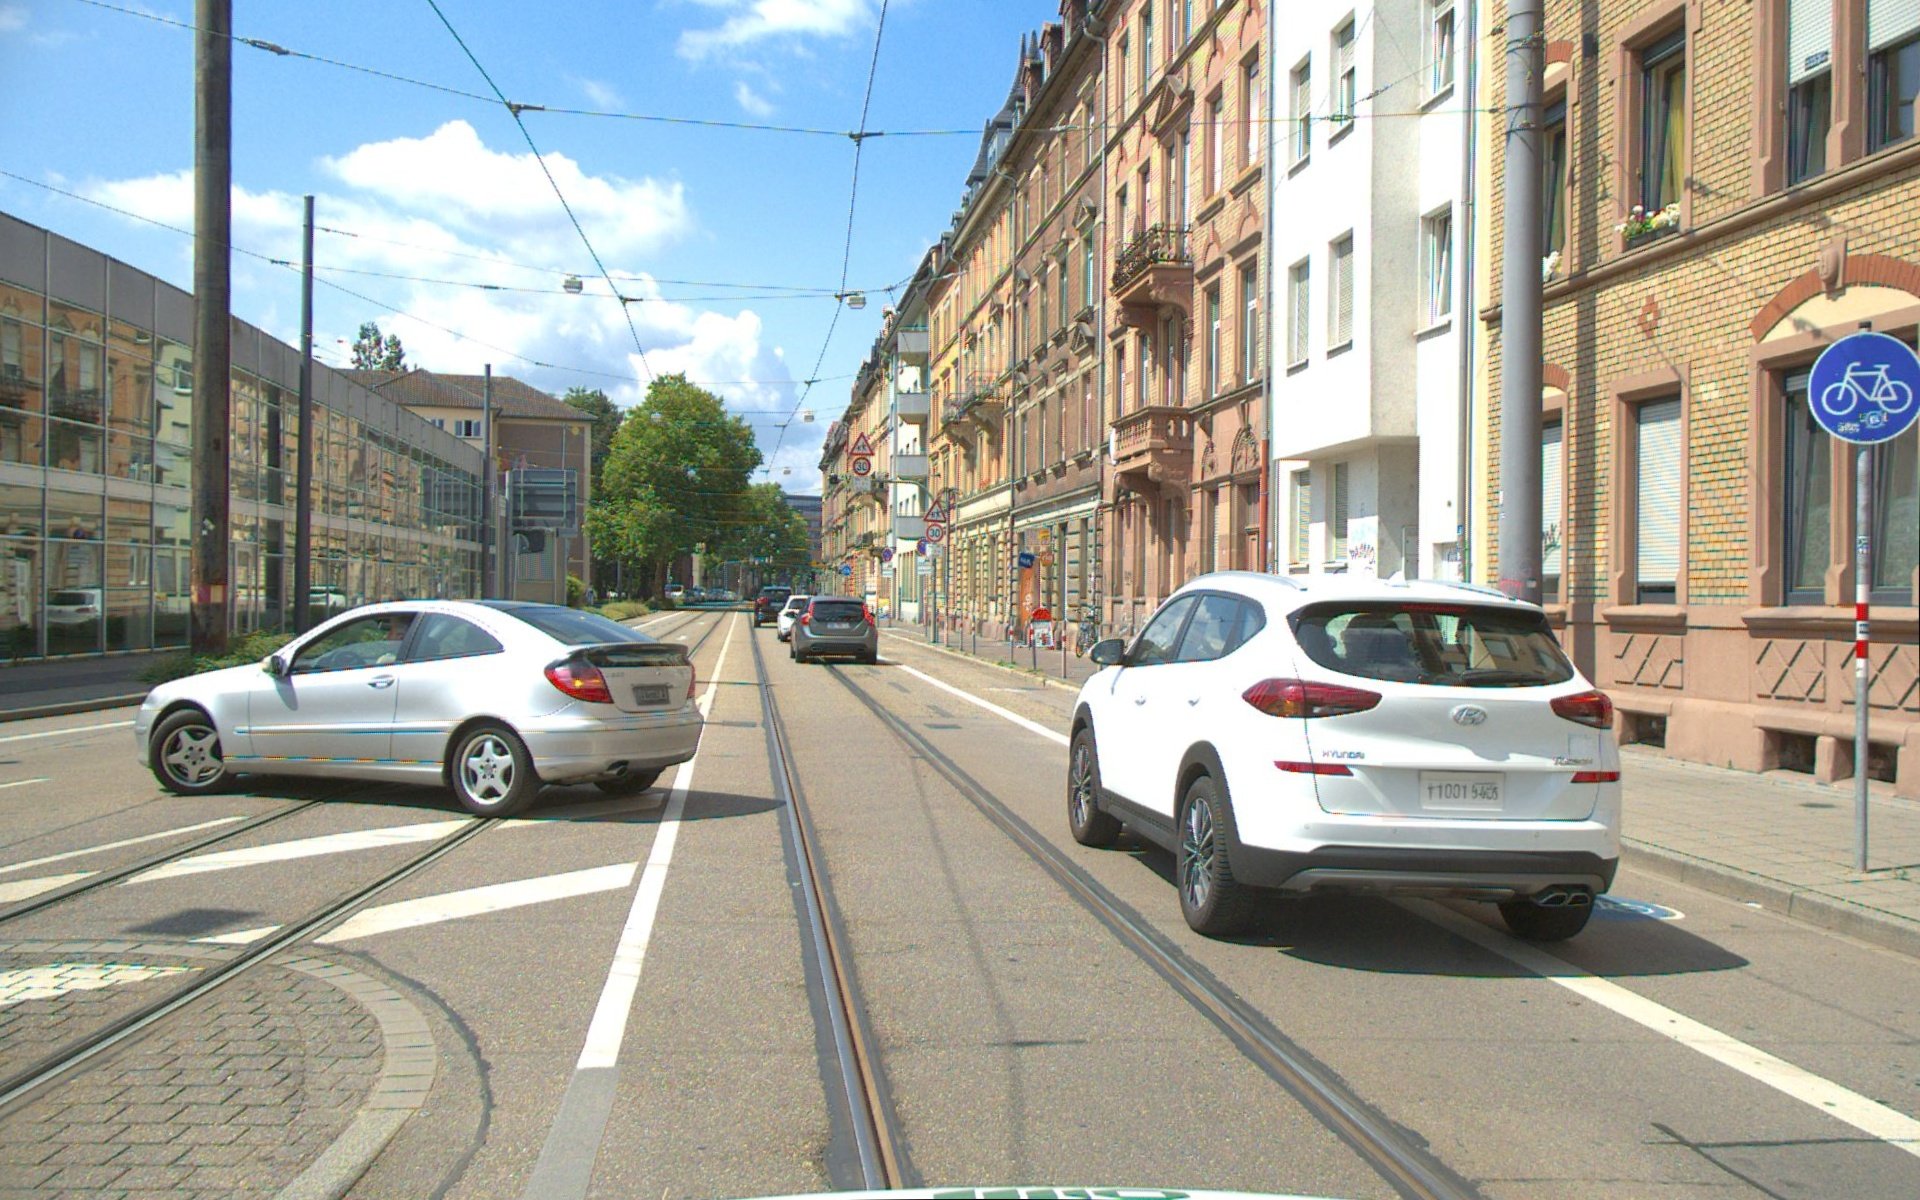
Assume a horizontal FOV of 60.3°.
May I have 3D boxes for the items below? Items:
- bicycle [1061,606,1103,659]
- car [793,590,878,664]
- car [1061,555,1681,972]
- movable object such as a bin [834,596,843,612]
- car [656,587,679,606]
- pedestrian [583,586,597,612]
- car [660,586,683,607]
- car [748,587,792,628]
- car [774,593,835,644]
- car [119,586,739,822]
[{"bbox_3d":[2.884,0.746,39.211,0.575,1.199,2.202,1,0,-7],"label":"bicycle"},{"bbox_3d":[-2.812,0.563,37.189,1.779,1.551,4.081,1,0,-5],"label":"car"},{"bbox_3d":[1.819,0.659,8.791,1.817,1.662,4.174,1,0,-7],"label":"car"},{"bbox_3d":[-9.417,0.303,128.417,0.601,1.163,0.637,2,0,-8],"label":"movable object such as a bin"},{"bbox_3d":[-27.330,-0.319,154.692,1.913,1.660,4.568,2,0,-8],"label":"car"},{"bbox_3d":[-26.874,-0.064,120.229,0.863,1.898,1.079,0,0,-7],"label":"pedestrian"},{"bbox_3d":[-27.983,-0.383,160.404,1.913,1.928,4.557,2,0,-8],"label":"car"},{"bbox_3d":[-8.365,0.308,72.636,1.780,1.691,4.078,1,0,-8],"label":"car"},{"bbox_3d":[-5.020,0.573,52.938,1.780,1.551,3.949,0,0,-8],"label":"car"},{"bbox_3d":[-3.827,0.637,11.917,4.090,1.445,1.819,1,0,24],"label":"car"}]
